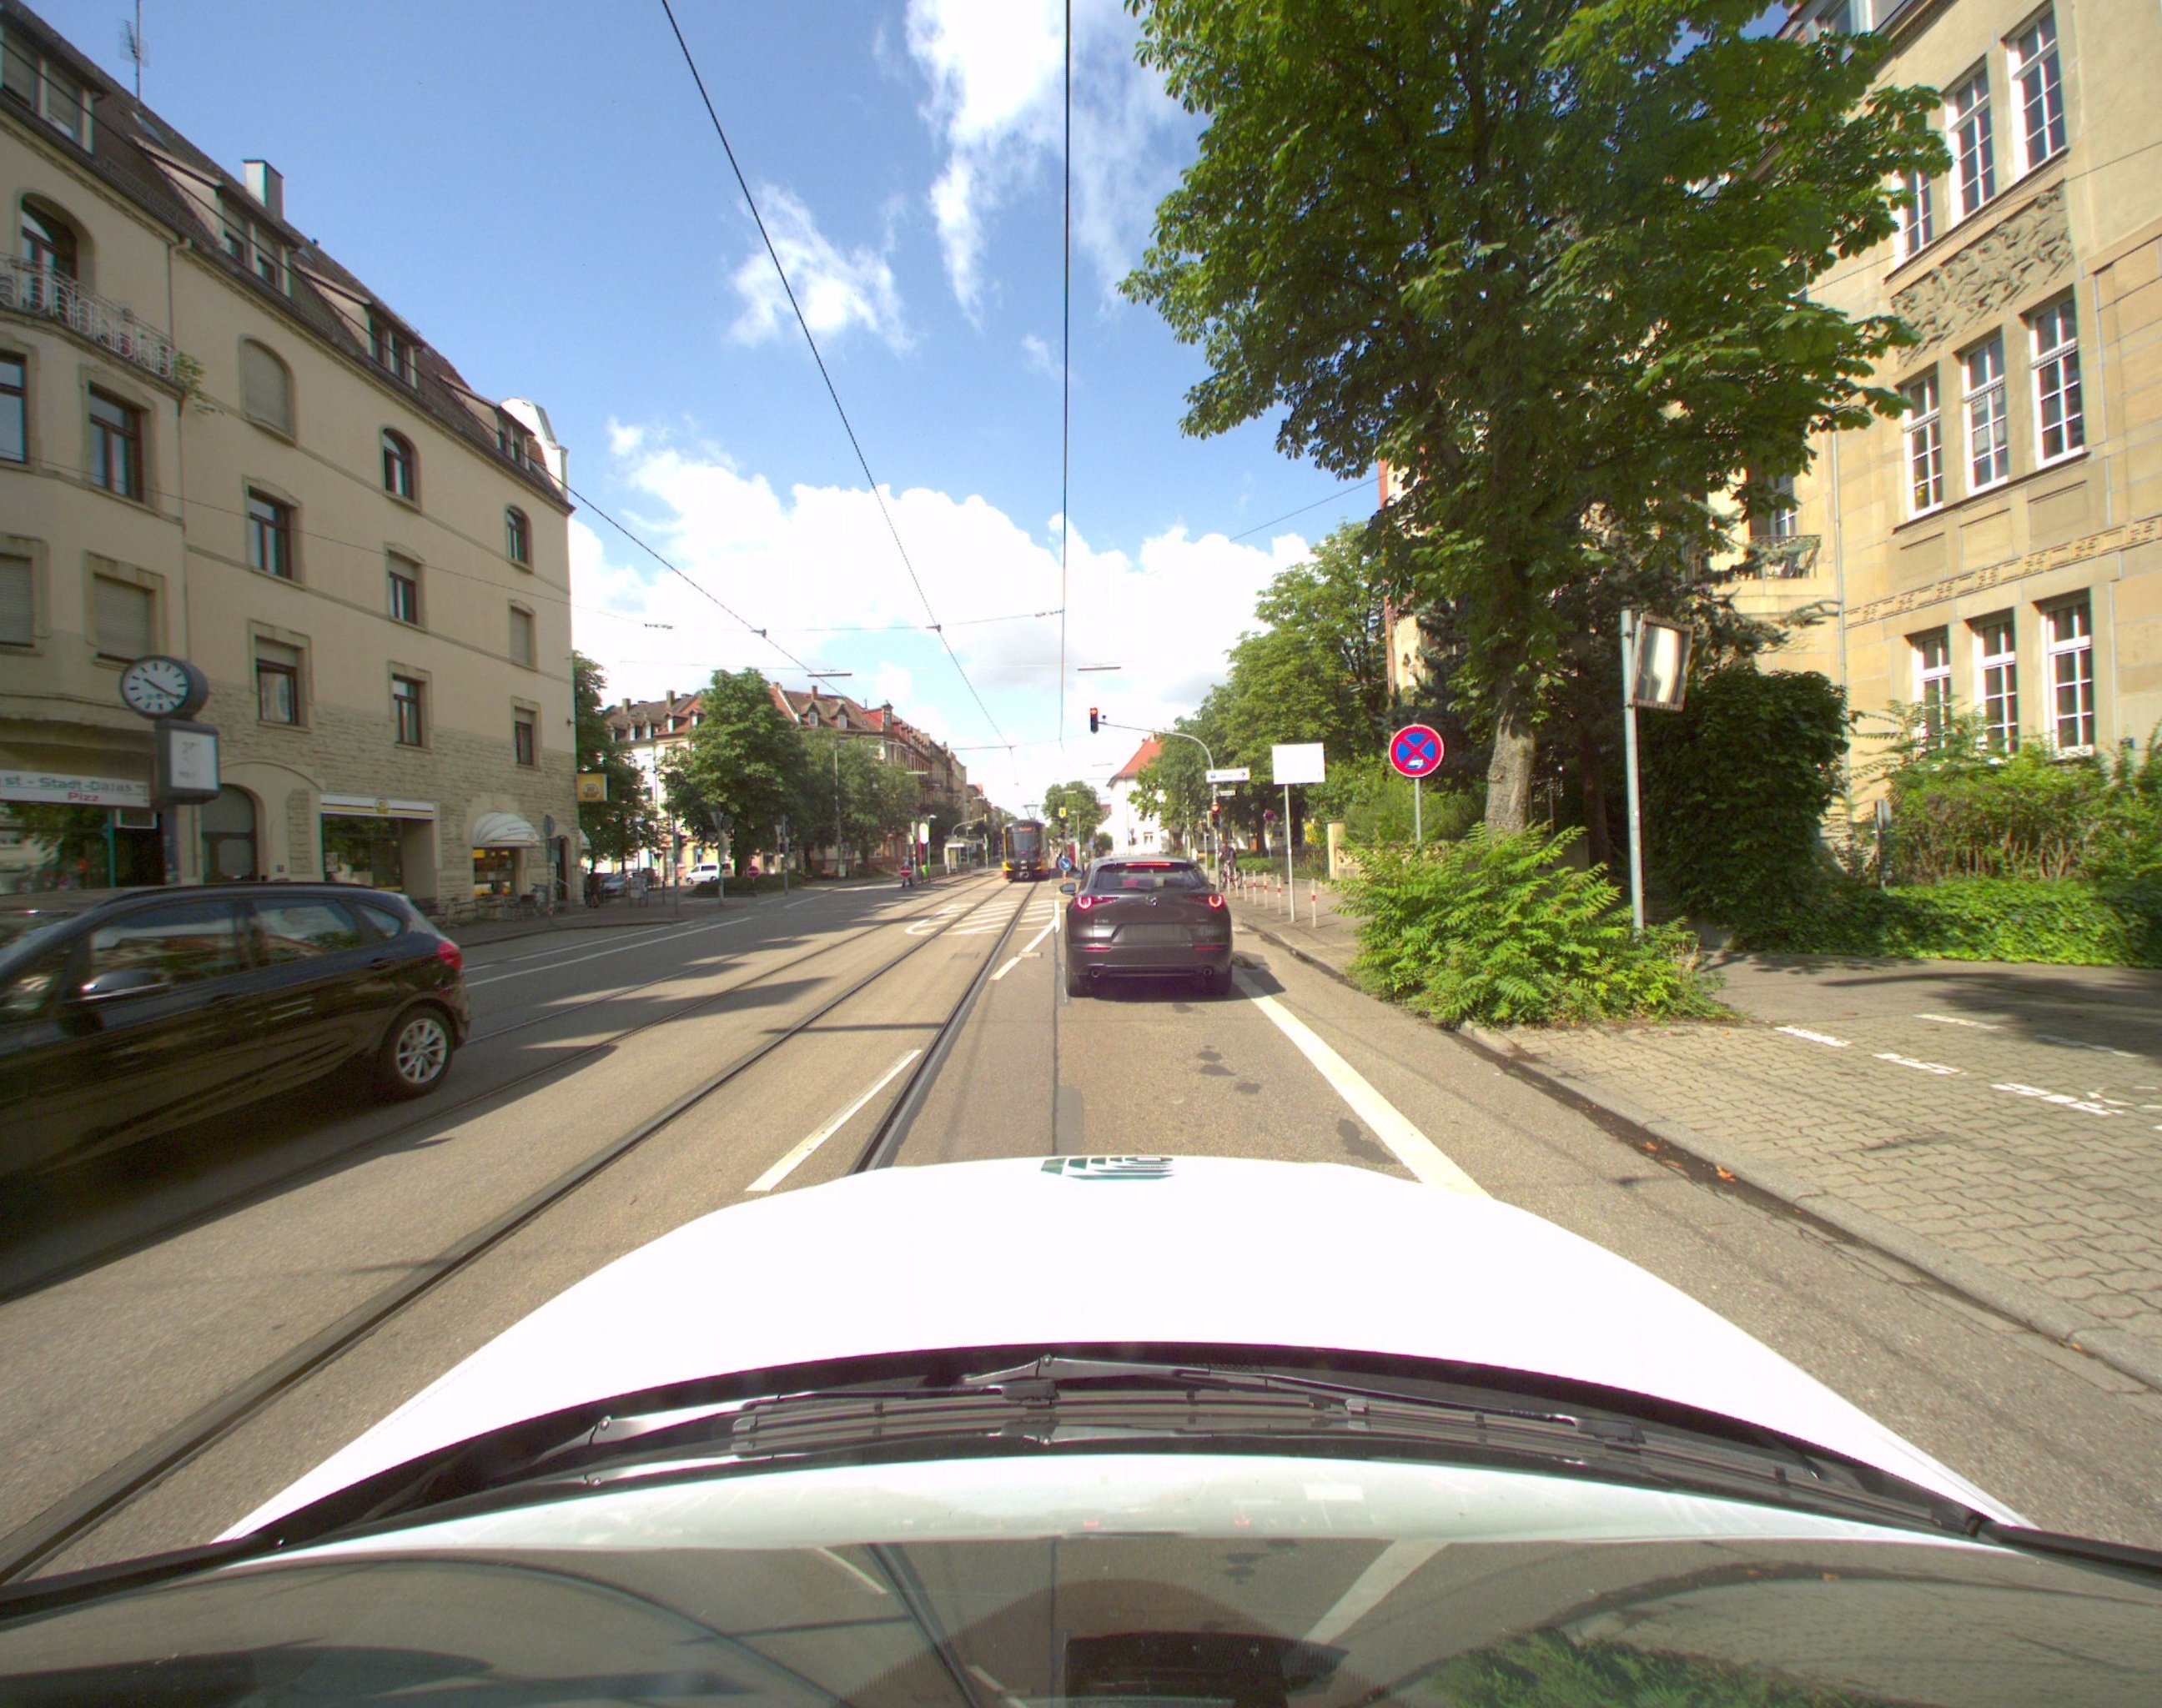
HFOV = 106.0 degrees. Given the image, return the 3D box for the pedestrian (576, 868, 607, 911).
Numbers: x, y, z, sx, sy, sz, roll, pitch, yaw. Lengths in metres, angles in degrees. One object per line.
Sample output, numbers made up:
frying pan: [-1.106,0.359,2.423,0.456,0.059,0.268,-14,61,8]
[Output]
pedestrian: [-20.039,1.445,33.378,0.746,1.684,0.702,-2,0,11]

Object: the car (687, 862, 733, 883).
car: [-36.674,1.849,80.603,3.950,1.903,2.012,-2,0,26]

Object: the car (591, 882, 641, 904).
car: [-29.567,2.454,51.878,1.675,1.182,3.982,-2,0,-13]

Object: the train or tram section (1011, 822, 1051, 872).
train or tram section: [-3.834,-0.639,65.463,2.746,3.490,14.396,-2,1,-2]

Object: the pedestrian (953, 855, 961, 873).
pedestrian: [-9.862,0.819,64.890,0.424,1.399,0.401,-2,0,32]

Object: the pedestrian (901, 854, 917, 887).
pedestrian: [-9.079,0.850,42.948,0.717,1.705,0.821,-2,0,-9]

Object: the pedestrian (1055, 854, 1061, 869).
pedestrian: [-1.723,0.546,61.293,0.379,1.071,0.474,-2,0,-2]

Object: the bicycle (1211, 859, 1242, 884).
bicycle: [5.242,0.615,29.271,0.488,0.824,1.710,-2,0,31]

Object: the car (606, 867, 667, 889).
car: [-37.313,2.034,68.415,3.972,1.596,2.001,-3,0,2]

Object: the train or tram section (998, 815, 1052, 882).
train or tram section: [-3.298,-0.415,51.082,2.746,3.490,14.396,-2,1,-2]

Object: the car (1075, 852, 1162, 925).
car: [0.828,0.708,18.758,1.772,1.499,4.001,0,0,1]

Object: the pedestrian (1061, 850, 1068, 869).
pedestrian: [-1.227,0.392,61.495,0.449,1.434,0.474,-2,0,-3]

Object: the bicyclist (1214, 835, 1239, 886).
bicyclist: [5.257,0.224,29.368,0.649,1.793,0.614,-2,0,29]

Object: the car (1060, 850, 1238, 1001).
car: [0.729,0.712,10.148,1.772,1.499,4.001,0,0,1]

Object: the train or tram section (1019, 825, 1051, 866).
train or tram section: [-4.393,-0.873,79.871,2.746,3.490,14.396,-2,1,-2]

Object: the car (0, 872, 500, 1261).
car: [-5.369,0.941,4.306,1.752,1.518,4.064,-2,0,-3]
